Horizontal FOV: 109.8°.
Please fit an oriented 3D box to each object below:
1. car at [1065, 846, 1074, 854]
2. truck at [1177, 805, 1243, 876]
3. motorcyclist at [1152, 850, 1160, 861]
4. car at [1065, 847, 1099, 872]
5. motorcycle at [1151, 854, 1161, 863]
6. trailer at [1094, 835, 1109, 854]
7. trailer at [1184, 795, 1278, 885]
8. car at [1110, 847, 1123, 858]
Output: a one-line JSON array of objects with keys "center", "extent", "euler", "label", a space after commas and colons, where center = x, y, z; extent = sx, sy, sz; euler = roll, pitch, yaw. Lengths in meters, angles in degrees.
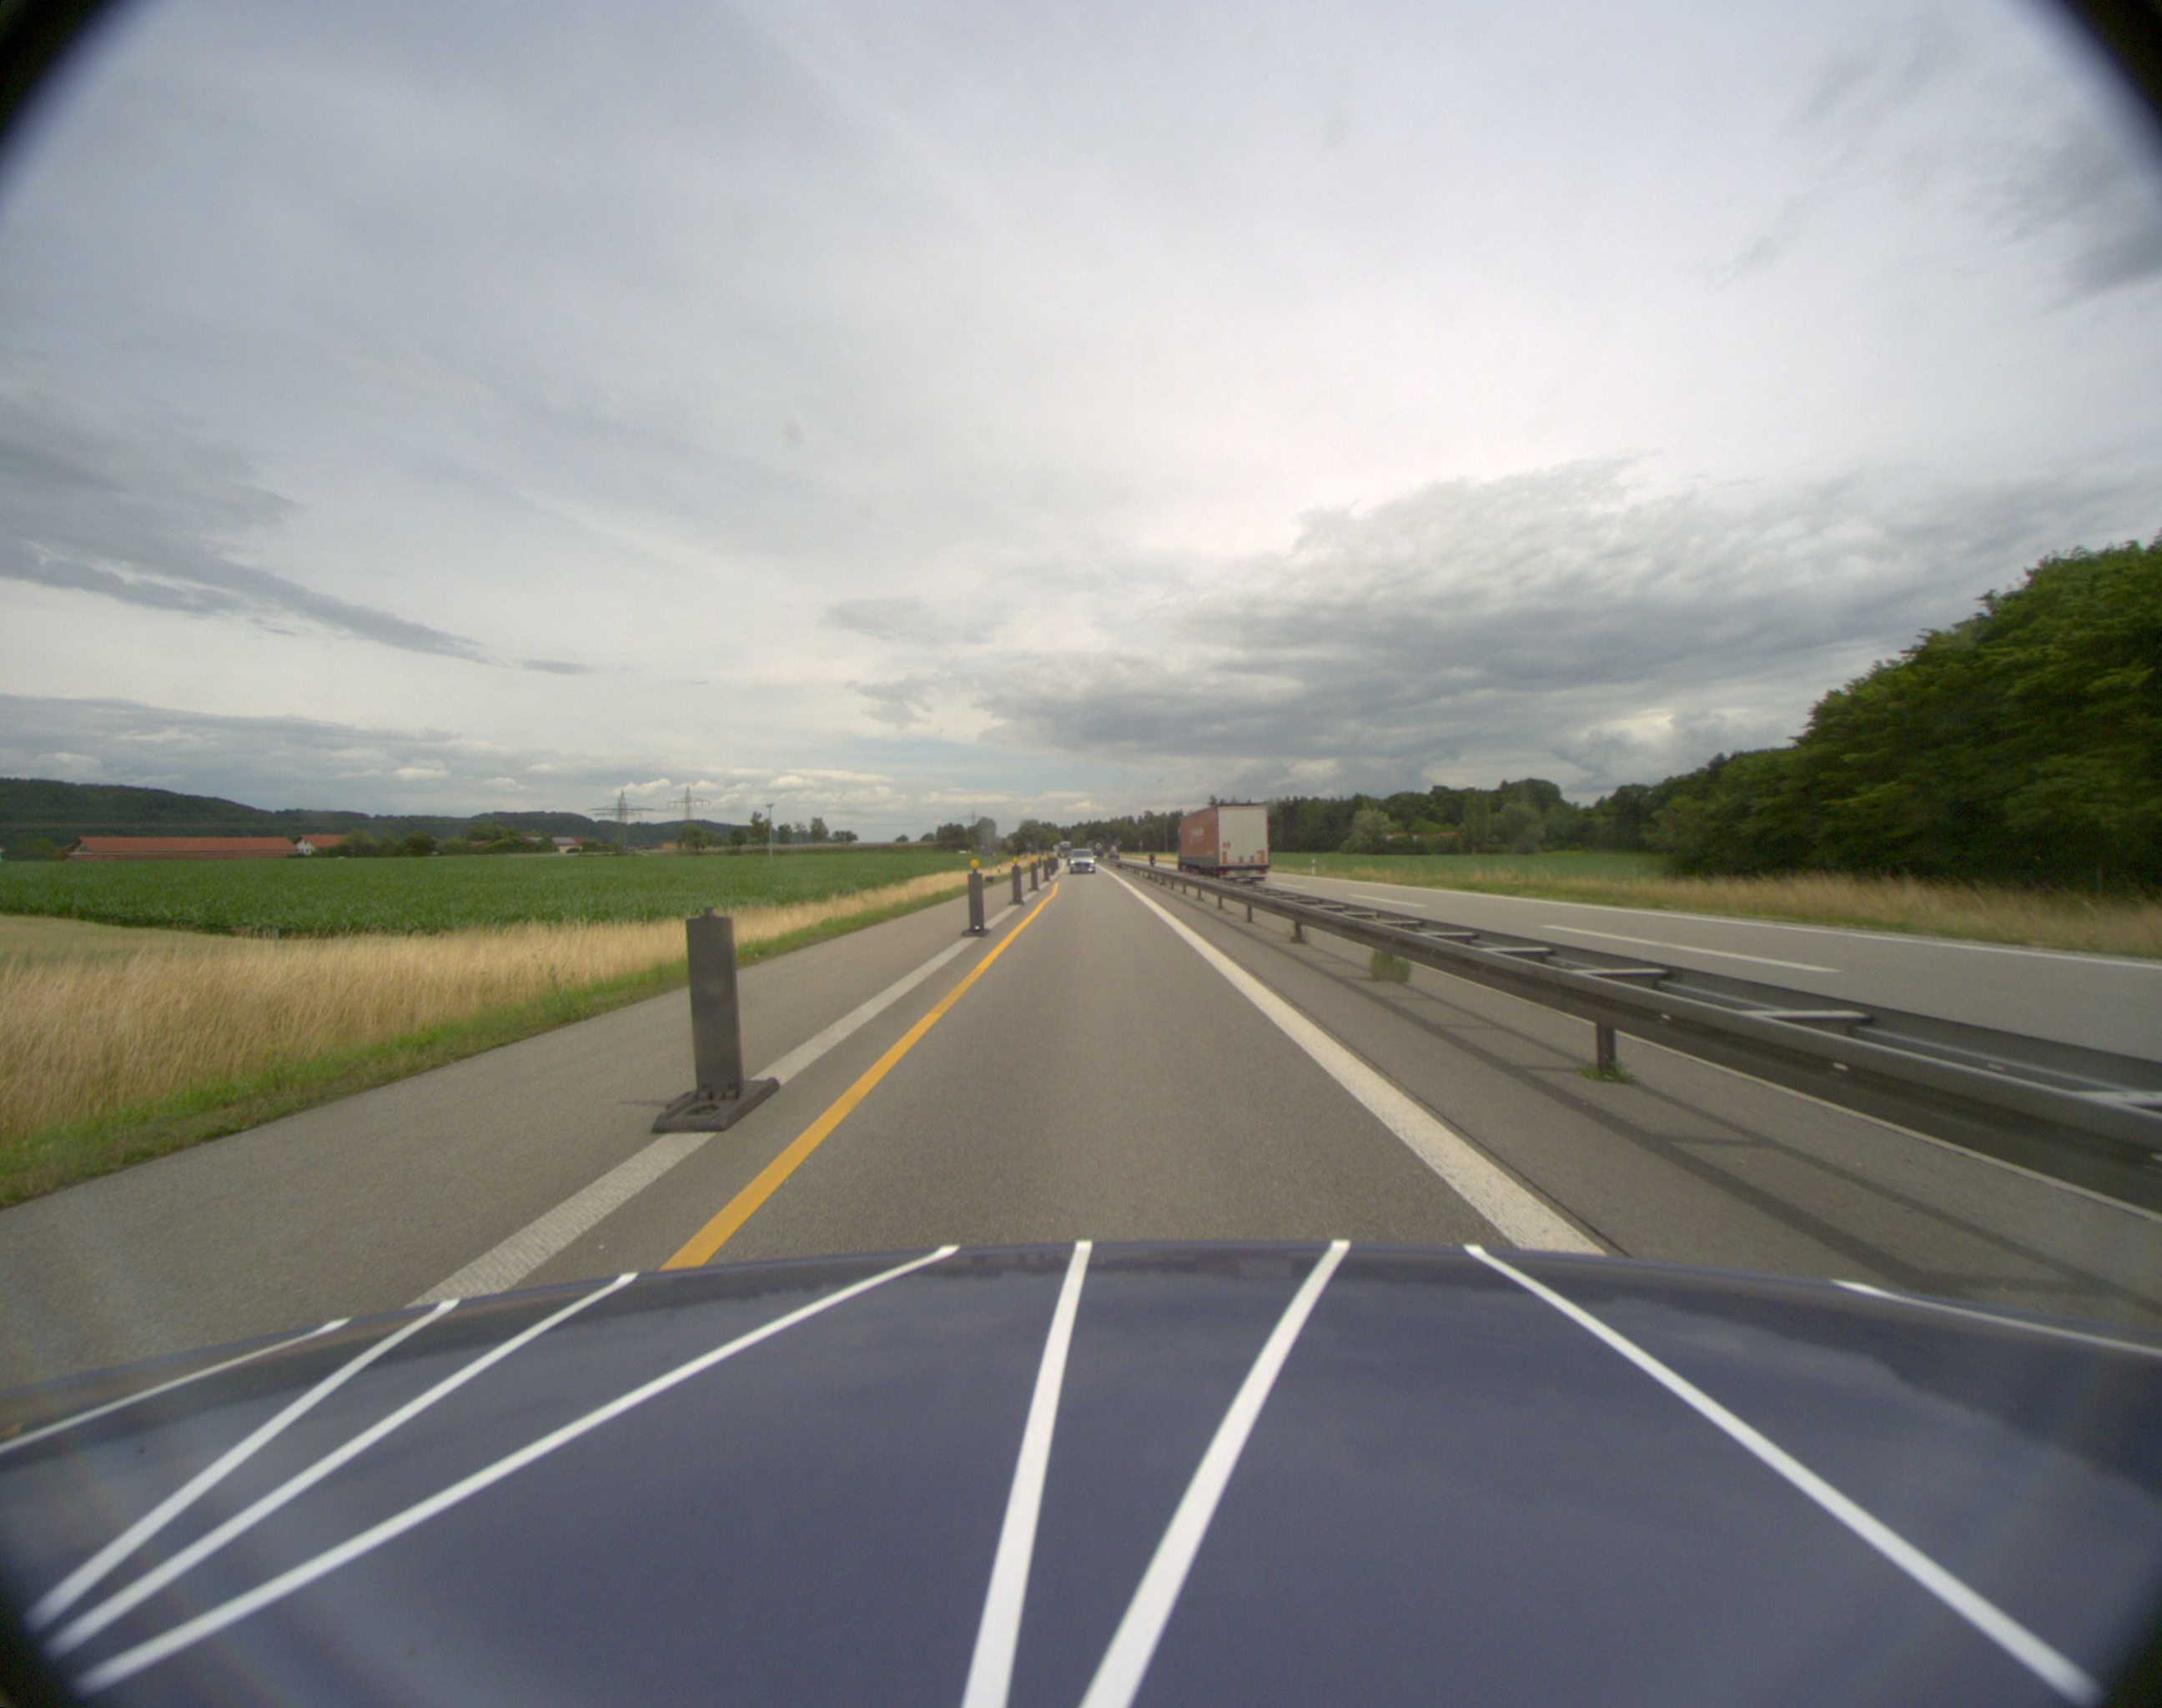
[{"center": [-2.863, -1.000, 192.517], "extent": [1.998, 2.002, 3.999], "euler": [-2, 1, 1], "label": "car"}, {"center": [8.265, -0.896, 49.575], "extent": [3.130, 4.189, 6.779], "euler": [-2, 1, 1], "label": "truck"}, {"center": [8.565, 0.131, 86.887], "extent": [0.863, 1.202, 0.960], "euler": [-2, 1, 0], "label": "motorcyclist"}, {"center": [0.019, 0.388, 58.342], "extent": [1.925, 1.823, 3.996], "euler": [-3, 1, -8], "label": "car"}, {"center": [8.578, 0.534, 86.918], "extent": [0.857, 0.929, 2.724], "euler": [-2, 0, 0], "label": "motorcycle"}, {"center": [4.740, -2.222, 176.177], "extent": [2.806, 4.149, 13.559], "euler": [-2, 1, 0], "label": "trailer"}, {"center": [8.065, -0.792, 42.661], "extent": [3.158, 4.189, 11.641], "euler": [-2, 1, 2], "label": "trailer"}, {"center": [6.338, -0.283, 137.548], "extent": [1.999, 1.674, 4.232], "euler": [-3, 1, -1], "label": "car"}]
